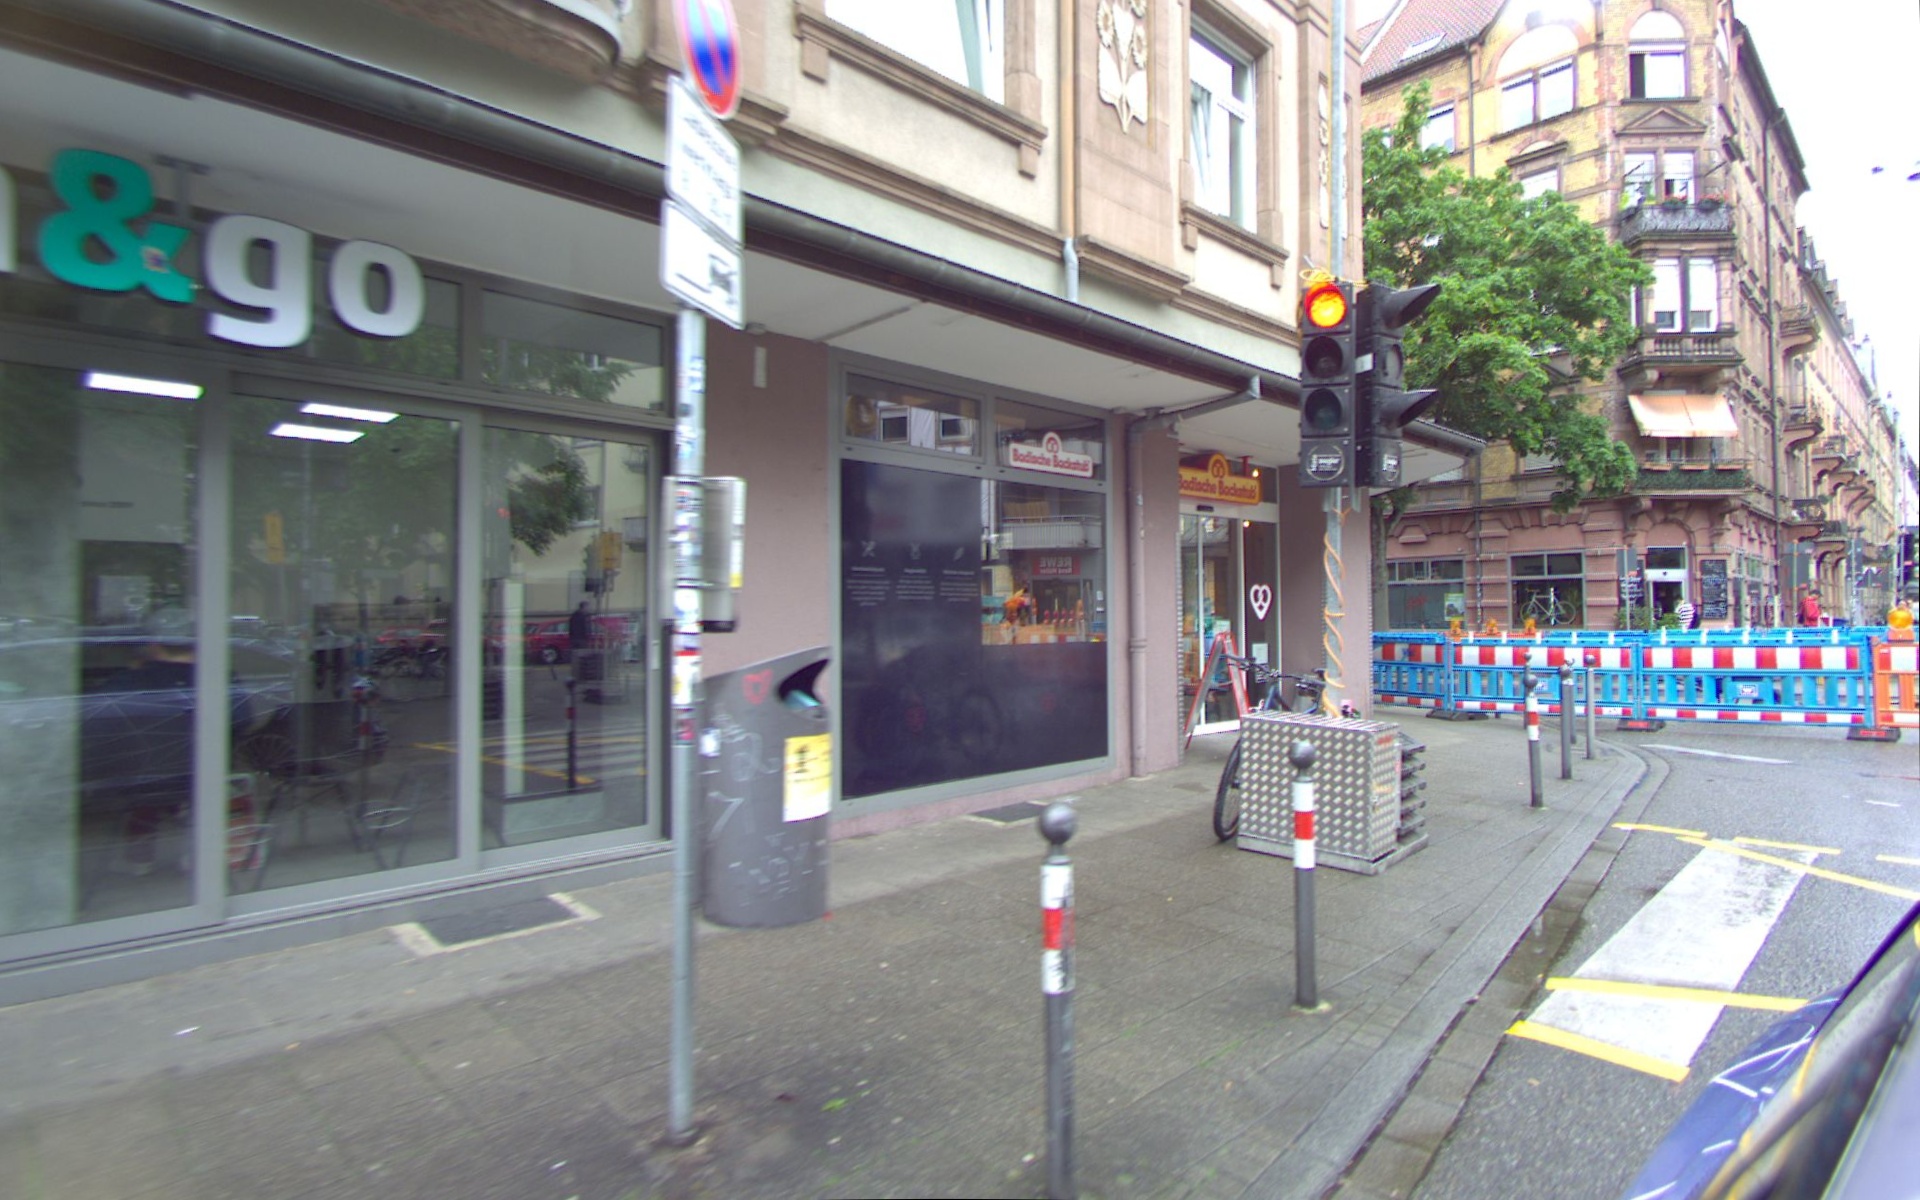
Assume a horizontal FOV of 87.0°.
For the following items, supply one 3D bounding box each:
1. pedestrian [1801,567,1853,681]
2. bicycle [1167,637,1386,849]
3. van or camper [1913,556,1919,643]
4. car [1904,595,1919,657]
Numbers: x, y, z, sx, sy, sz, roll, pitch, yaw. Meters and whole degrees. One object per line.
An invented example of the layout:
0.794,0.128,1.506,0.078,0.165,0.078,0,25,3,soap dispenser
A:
20.470,0.572,23.907,0.685,2.642,0.538,-1,-1,15,pedestrian
2.129,0.842,6.642,0.623,1.142,1.908,-1,-1,42,bicycle
40.680,-0.012,41.296,2.405,3.370,6.959,-2,-2,44,van or camper
29.872,0.768,30.518,1.895,1.813,3.939,-2,-2,42,car
